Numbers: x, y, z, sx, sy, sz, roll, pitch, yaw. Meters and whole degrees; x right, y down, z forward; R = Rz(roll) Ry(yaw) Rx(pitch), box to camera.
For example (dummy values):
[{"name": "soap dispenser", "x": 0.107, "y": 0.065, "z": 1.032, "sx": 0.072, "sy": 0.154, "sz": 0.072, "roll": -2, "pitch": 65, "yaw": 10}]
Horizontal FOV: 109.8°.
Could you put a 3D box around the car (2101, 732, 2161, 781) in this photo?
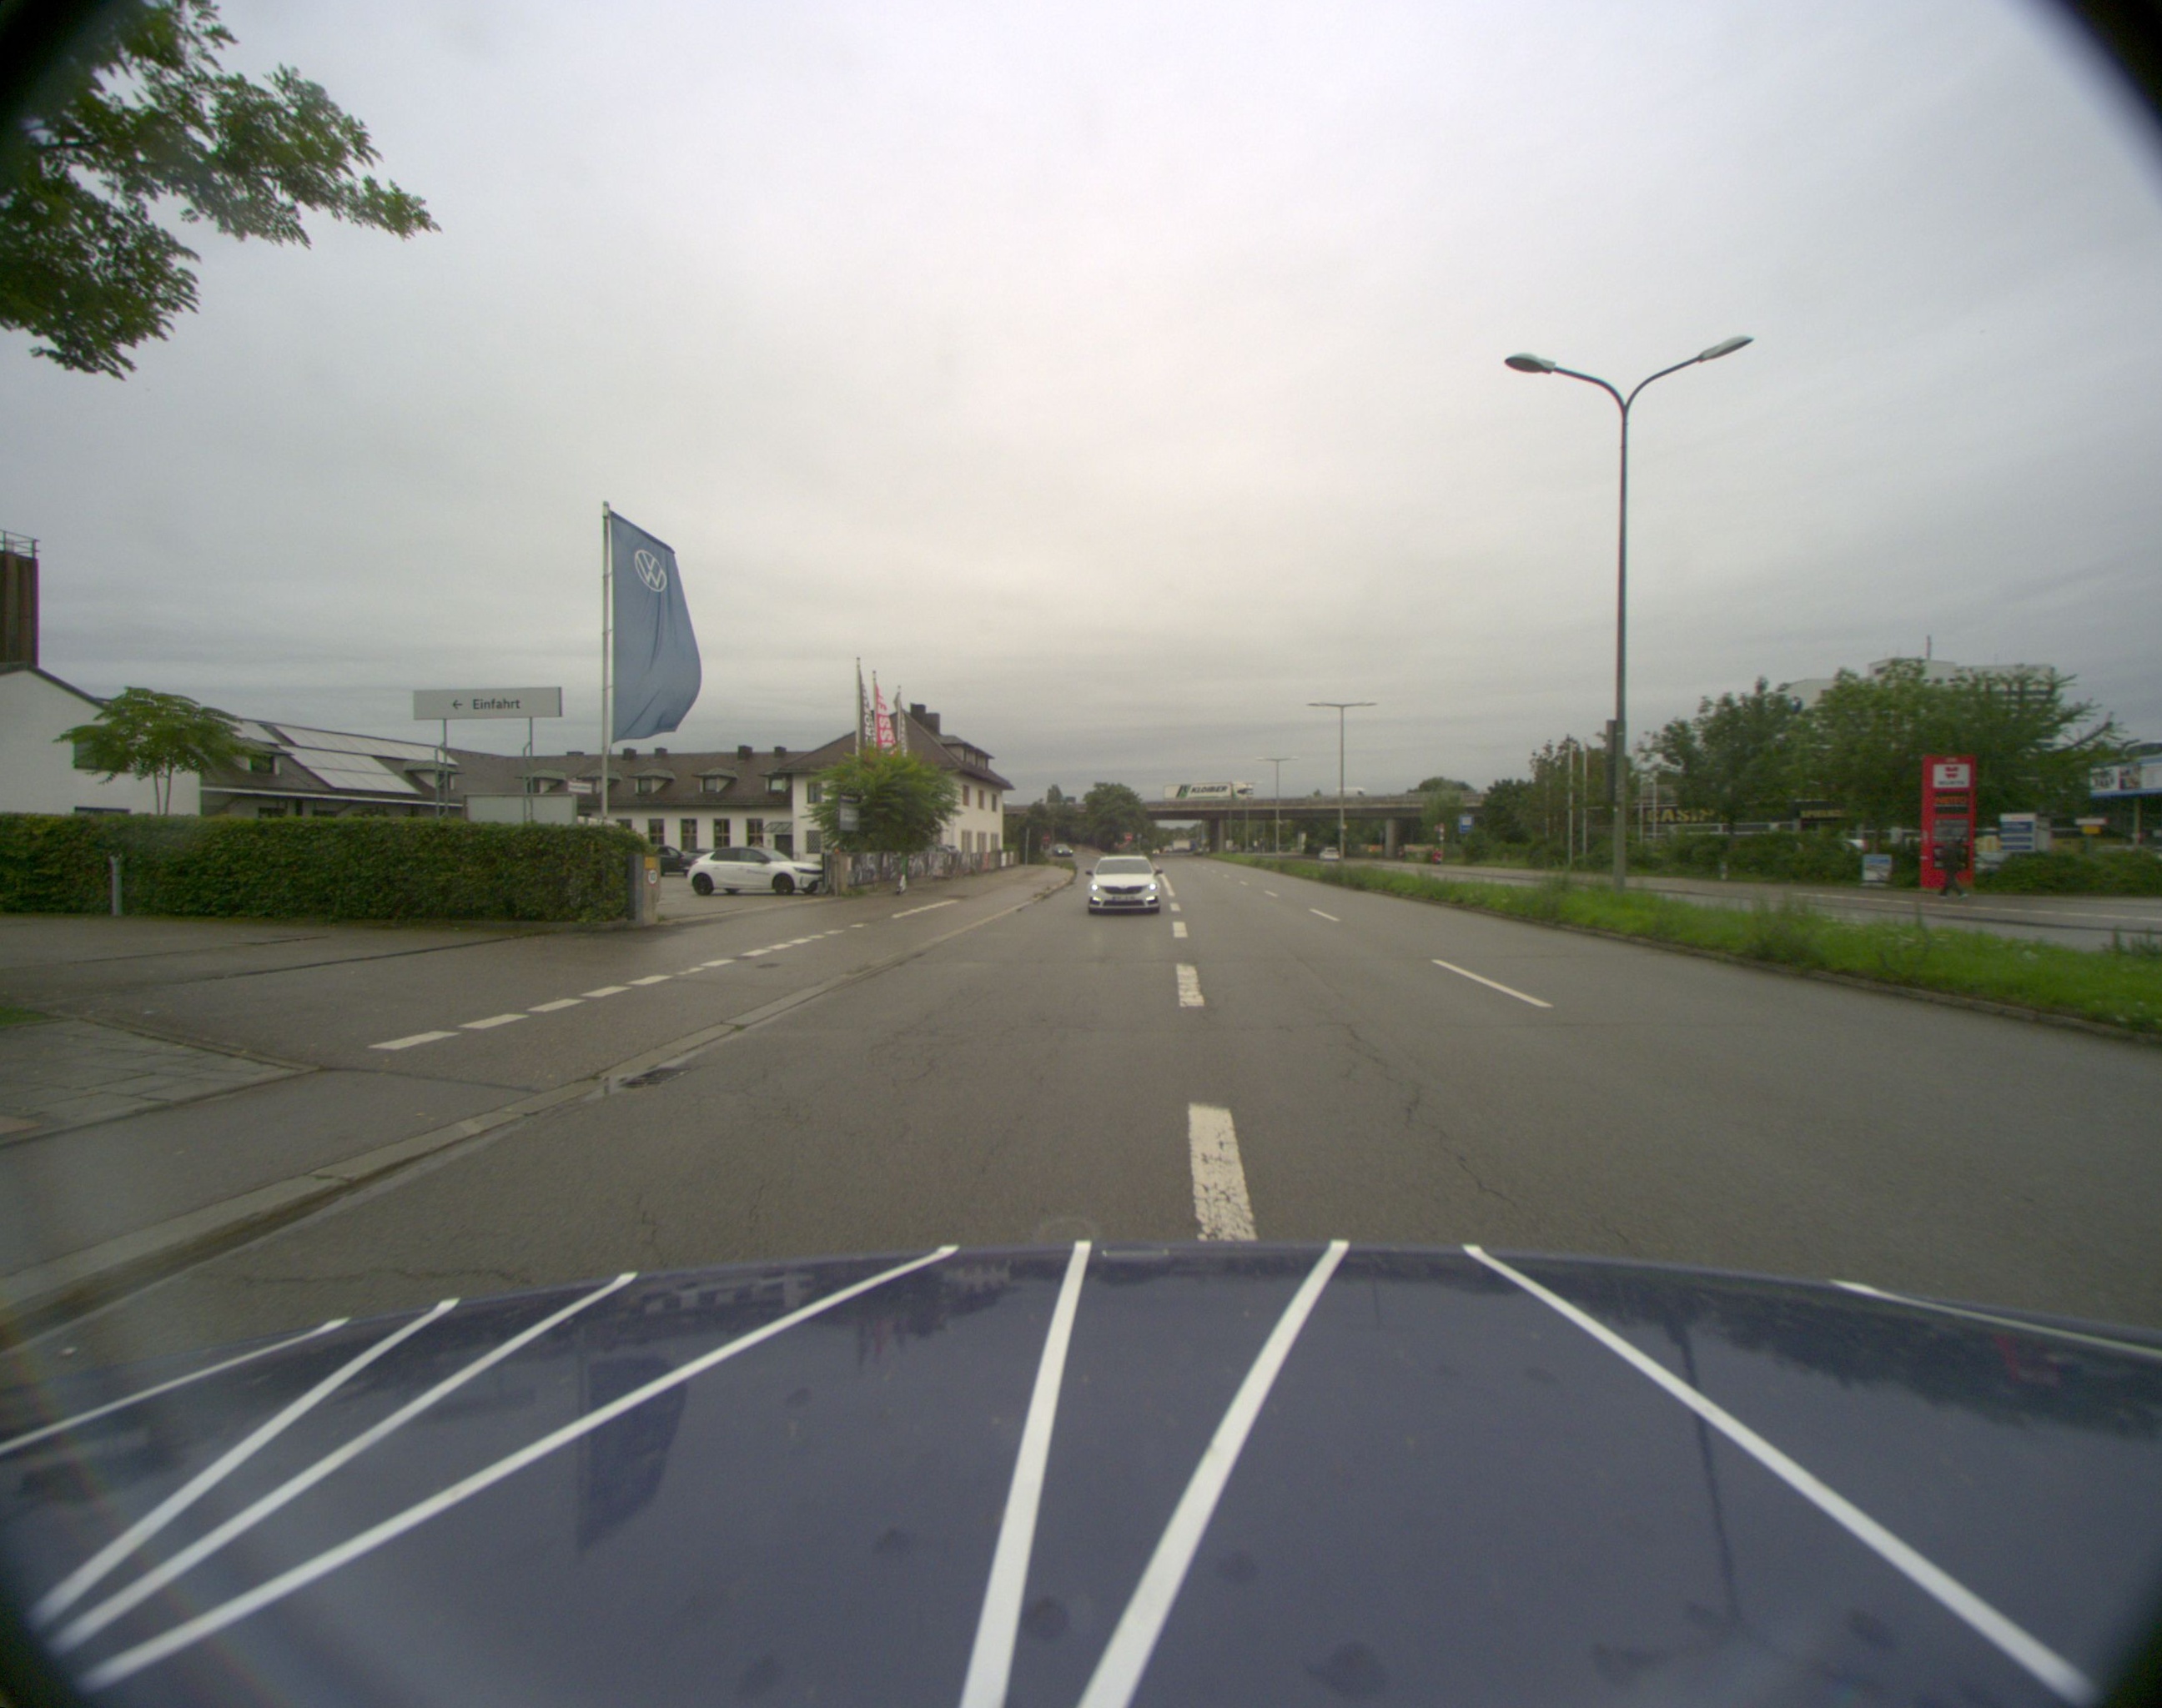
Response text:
[{"name": "car", "x": 49.055, "y": -4.243, "z": 33.435, "sx": 4.791, "sy": 2.003, "sz": 2.135, "roll": 2, "pitch": 4, "yaw": 7}]

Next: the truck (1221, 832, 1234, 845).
[{"name": "truck", "x": 35.472, "y": -3.707, "z": 183.773, "sx": 2.257, "sy": 2.960, "sz": 7.235, "roll": 3, "pitch": 2, "yaw": 6}]

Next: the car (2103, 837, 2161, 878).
[{"name": "car", "x": 44.405, "y": 0.117, "z": 30.444, "sx": 3.995, "sy": 1.556, "sz": 1.909, "roll": -1, "pitch": 2, "yaw": 5}]

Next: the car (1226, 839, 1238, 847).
[{"name": "car", "x": 33.624, "y": -2.391, "z": 168.854, "sx": 1.973, "sy": 1.574, "sz": 4.591, "roll": 3, "pitch": 2, "yaw": 4}]

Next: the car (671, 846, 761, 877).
[{"name": "car", "x": -18.468, "y": 0.325, "z": 38.652, "sx": 1.923, "sy": 1.485, "sz": 4.113, "roll": 0, "pitch": 1, "yaw": 13}]

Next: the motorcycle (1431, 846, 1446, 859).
[{"name": "motorcycle", "x": 32.247, "y": -0.167, "z": 68.521, "sx": 0.534, "sy": 1.169, "sz": 2.196, "roll": 0, "pitch": 1, "yaw": 6}]

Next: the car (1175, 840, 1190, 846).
[{"name": "car", "x": 28.291, "y": -2.934, "z": 211.546, "sx": 1.978, "sy": 1.573, "sz": 4.580, "roll": 1, "pitch": -1, "yaw": -28}]

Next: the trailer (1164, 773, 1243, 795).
[{"name": "trailer", "x": 20.363, "y": -11.643, "z": 127.394, "sx": 14.014, "sy": 3.280, "sz": 2.671, "roll": 4, "pitch": 5, "yaw": 45}]

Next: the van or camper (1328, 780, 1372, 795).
[{"name": "van or camper", "x": 38.779, "y": -9.557, "z": 109.622, "sx": 5.490, "sy": 2.002, "sz": 2.336, "roll": 2, "pitch": 3, "yaw": 45}]

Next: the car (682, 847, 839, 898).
[{"name": "car", "x": -9.628, "y": 0.532, "z": 22.999, "sx": 4.022, "sy": 1.452, "sz": 1.794, "roll": 0, "pitch": 1, "yaw": 6}]

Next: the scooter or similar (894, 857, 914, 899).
[{"name": "scooter or similar", "x": -5.580, "y": 0.732, "z": 24.009, "sx": 0.398, "sy": 1.216, "sz": 1.638, "roll": 2, "pitch": 2, "yaw": -7}]

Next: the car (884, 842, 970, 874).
[{"name": "car", "x": -8.265, "y": 0.206, "z": 41.004, "sx": 4.105, "sy": 1.716, "sz": 1.927, "roll": 0, "pitch": 1, "yaw": 5}]

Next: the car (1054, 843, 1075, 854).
[{"name": "car", "x": -2.077, "y": -0.715, "z": 94.061, "sx": 1.711, "sy": 1.281, "sz": 3.994, "roll": 0, "pitch": 1, "yaw": -14}]

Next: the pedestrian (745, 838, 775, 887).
[{"name": "pedestrian", "x": -12.623, "y": 0.314, "z": 29.867, "sx": 0.735, "sy": 1.891, "sz": 0.932, "roll": 0, "pitch": 1, "yaw": 2}]

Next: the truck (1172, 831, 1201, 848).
[{"name": "truck", "x": 30.180, "y": -4.132, "z": 217.876, "sx": 2.804, "sy": 4.566, "sz": 9.574, "roll": 1, "pitch": 2, "yaw": -29}]

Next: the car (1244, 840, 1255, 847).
[{"name": "car", "x": 41.066, "y": -2.585, "z": 185.329, "sx": 1.973, "sy": 1.389, "sz": 4.817, "roll": 1, "pitch": 2, "yaw": 5}]

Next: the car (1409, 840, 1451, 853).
[{"name": "car", "x": 43.887, "y": -0.918, "z": 95.574, "sx": 5.126, "sy": 1.563, "sz": 1.995, "roll": 0, "pitch": 2, "yaw": -27}]

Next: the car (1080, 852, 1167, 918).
[{"name": "car", "x": 1.196, "y": 0.726, "z": 19.631, "sx": 1.914, "sy": 1.439, "sz": 4.558, "roll": -2, "pitch": -1, "yaw": 6}]

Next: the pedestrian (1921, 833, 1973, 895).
[{"name": "pedestrian", "x": 25.838, "y": 0.283, "z": 22.689, "sx": 0.623, "sy": 1.819, "sz": 0.817, "roll": 0, "pitch": 1, "yaw": 7}]

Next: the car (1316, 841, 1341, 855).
[{"name": "car", "x": 29.813, "y": -0.751, "z": 91.703, "sx": 1.997, "sy": 1.563, "sz": 4.575, "roll": 1, "pitch": 1, "yaw": 7}]

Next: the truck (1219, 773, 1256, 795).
[{"name": "truck", "x": 25.184, "y": -11.258, "z": 122.576, "sx": 5.177, "sy": 3.228, "sz": 2.602, "roll": 3, "pitch": 4, "yaw": 45}]
